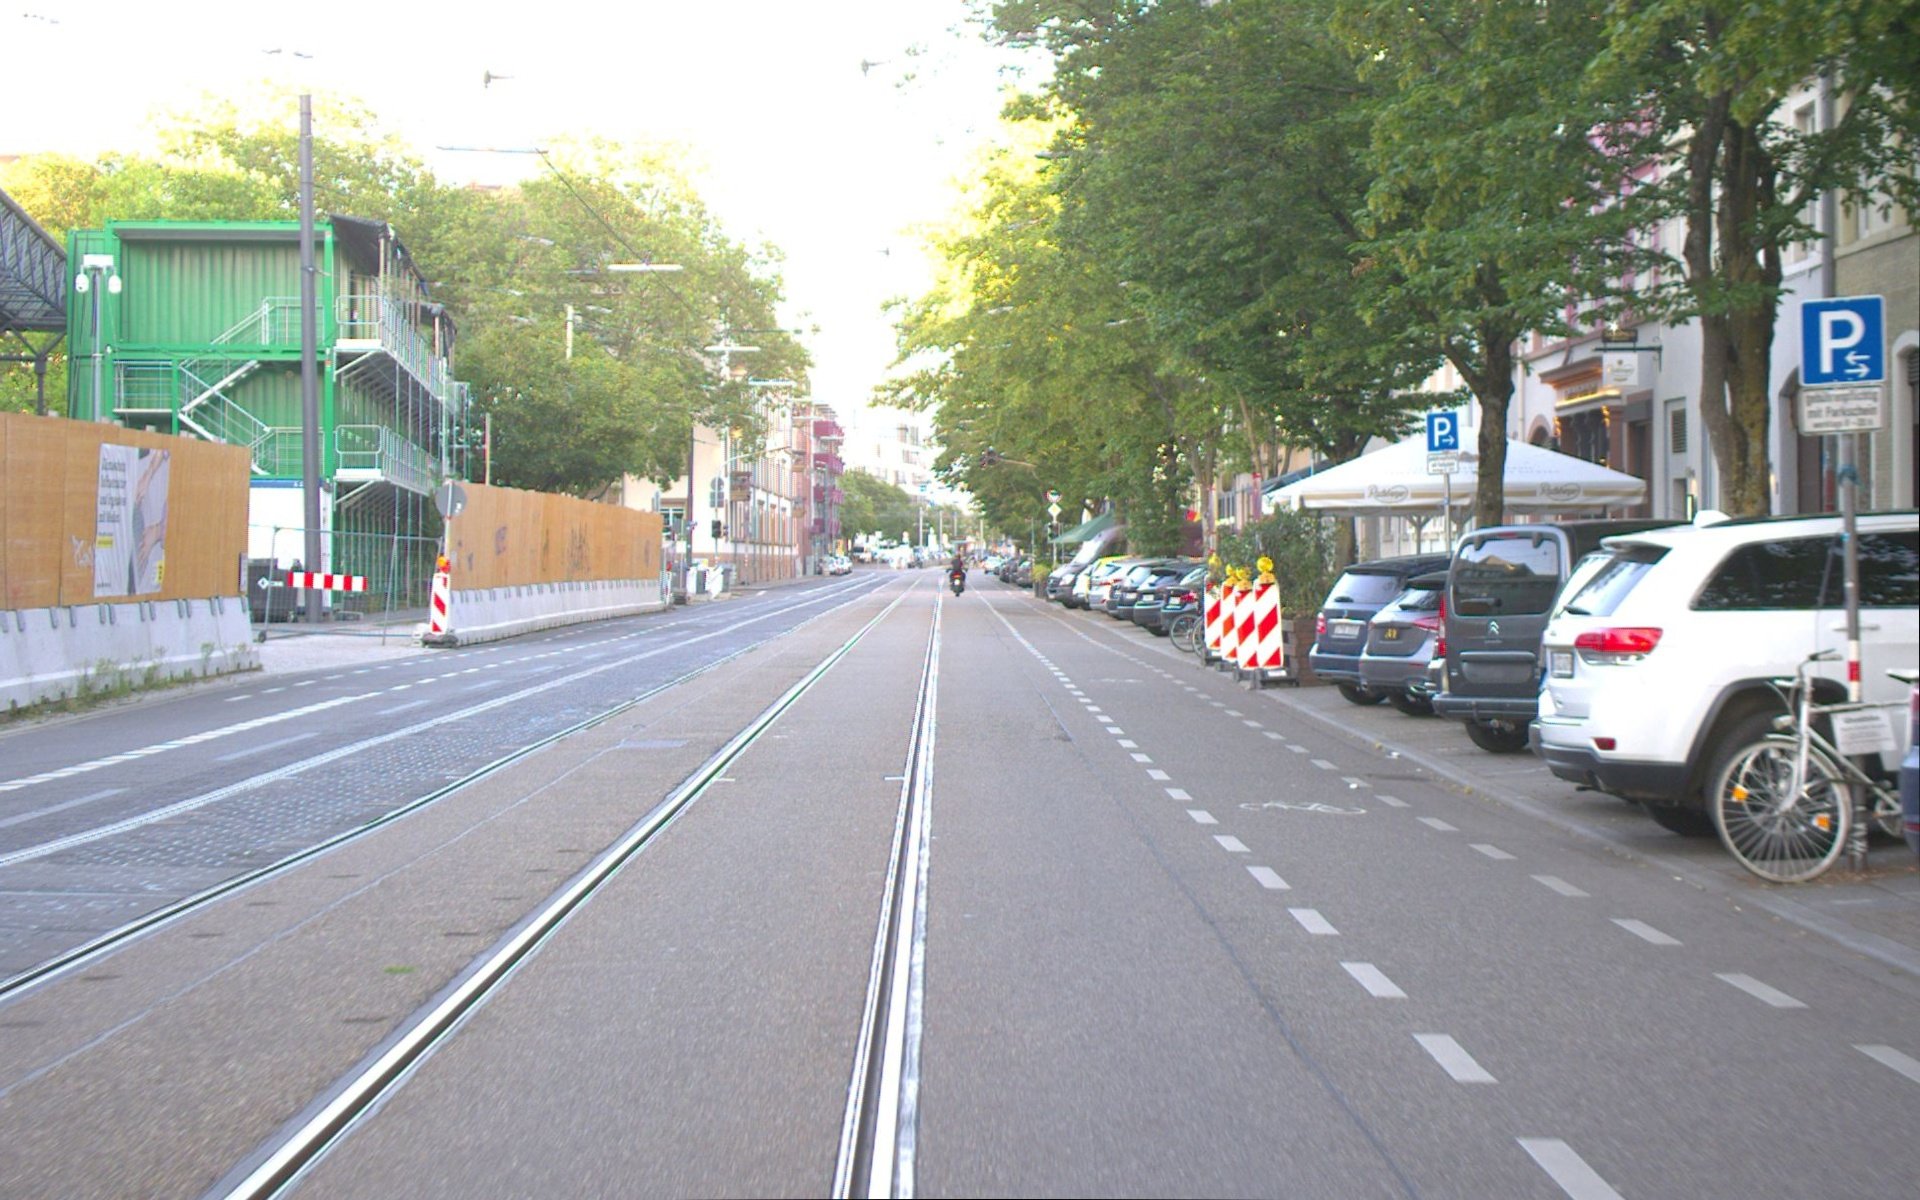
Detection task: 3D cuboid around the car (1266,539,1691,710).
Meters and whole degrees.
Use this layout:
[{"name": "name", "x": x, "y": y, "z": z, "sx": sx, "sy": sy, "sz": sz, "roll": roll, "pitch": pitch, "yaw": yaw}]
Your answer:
[{"name": "car", "x": 5.291, "y": 0.227, "z": 35.043, "sx": 3.961, "sy": 1.548, "sz": 1.706, "roll": -2, "pitch": 1, "yaw": -25}]

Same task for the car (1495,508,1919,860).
[{"name": "car", "x": 5.380, "y": 0.347, "z": 18.352, "sx": 4.648, "sy": 1.682, "sz": 2.008, "roll": -3, "pitch": 1, "yaw": -1}]

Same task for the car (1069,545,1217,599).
[{"name": "car", "x": 5.497, "y": -0.848, "z": 103.159, "sx": 3.949, "sy": 1.481, "sz": 1.921, "roll": -2, "pitch": 0, "yaw": -24}]

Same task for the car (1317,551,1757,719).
[{"name": "car", "x": 5.464, "y": 0.305, "z": 32.535, "sx": 3.772, "sy": 1.403, "sz": 1.706, "roll": -2, "pitch": 1, "yaw": -25}]

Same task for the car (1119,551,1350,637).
[{"name": "car", "x": 5.427, "y": -0.135, "z": 68.161, "sx": 4.115, "sy": 1.465, "sz": 1.824, "roll": -3, "pitch": 1, "yaw": -17}]

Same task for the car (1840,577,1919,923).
[{"name": "car", "x": 5.843, "y": 0.528, "z": 14.644, "sx": 3.746, "sy": 1.422, "sz": 1.728, "roll": -3, "pitch": 1, "yaw": -24}]

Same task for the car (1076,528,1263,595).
[{"name": "car", "x": 5.203, "y": -0.954, "z": 85.775, "sx": 4.249, "sy": 1.543, "sz": 2.020, "roll": -2, "pitch": 0, "yaw": -10}]

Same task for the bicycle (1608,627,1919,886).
[{"name": "bicycle", "x": 4.085, "y": 0.728, "z": 16.472, "sx": 1.835, "sy": 1.099, "sz": 0.498, "roll": -3, "pitch": 1, "yaw": -14}]

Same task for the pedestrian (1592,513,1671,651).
[{"name": "pedestrian", "x": 8.644, "y": -0.236, "z": 44.266, "sx": 0.702, "sy": 1.757, "sz": 0.715, "roll": -1, "pitch": 1, "yaw": -28}]

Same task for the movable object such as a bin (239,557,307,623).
[{"name": "movable object such as a bin", "x": -14.296, "y": -0.220, "z": 71.557, "sx": 1.306, "sy": 1.365, "sz": 0.784, "roll": 0, "pitch": 1, "yaw": -3}]

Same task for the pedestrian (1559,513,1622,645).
[{"name": "pedestrian", "x": 8.513, "y": -0.290, "z": 46.417, "sx": 0.550, "sy": 1.757, "sz": 0.853, "roll": 0, "pitch": 1, "yaw": -12}]

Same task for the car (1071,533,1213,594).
[{"name": "car", "x": 5.237, "y": -1.052, "z": 99.207, "sx": 3.950, "sy": 1.614, "sz": 1.921, "roll": -2, "pitch": 0, "yaw": 1}]

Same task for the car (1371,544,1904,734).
[{"name": "car", "x": 5.944, "y": 0.308, "z": 30.117, "sx": 4.309, "sy": 1.384, "sz": 1.807, "roll": -3, "pitch": 1, "yaw": -25}]

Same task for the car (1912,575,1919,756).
[{"name": "car", "x": 5.700, "y": 0.515, "z": 11.964, "sx": 4.211, "sy": 1.422, "sz": 1.976, "roll": -3, "pitch": 1, "yaw": -22}]

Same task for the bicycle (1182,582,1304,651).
[{"name": "bicycle", "x": 4.635, "y": 0.266, "z": 56.358, "sx": 1.903, "sy": 1.028, "sz": 0.533, "roll": -3, "pitch": 1, "yaw": -2}]

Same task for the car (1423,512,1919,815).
[{"name": "car", "x": 5.478, "y": 0.322, "z": 21.776, "sx": 4.648, "sy": 1.682, "sz": 2.008, "roll": -3, "pitch": 1, "yaw": -5}]

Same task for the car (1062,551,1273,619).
[{"name": "car", "x": 4.674, "y": -0.339, "z": 77.496, "sx": 4.249, "sy": 1.387, "sz": 2.016, "roll": -2, "pitch": 0, "yaw": -23}]

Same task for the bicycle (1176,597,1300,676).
[{"name": "bicycle", "x": 3.993, "y": 0.516, "z": 49.435, "sx": 1.678, "sy": 1.028, "sz": 0.557, "roll": -3, "pitch": 1, "yaw": -2}]

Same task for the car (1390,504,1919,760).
[{"name": "car", "x": 5.706, "y": 0.206, "z": 27.090, "sx": 4.147, "sy": 1.800, "sz": 2.008, "roll": -2, "pitch": 1, "yaw": -28}]

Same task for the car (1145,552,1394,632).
[{"name": "car", "x": 5.672, "y": -0.166, "z": 63.132, "sx": 4.160, "sy": 1.422, "sz": 1.824, "roll": -1, "pitch": 1, "yaw": -19}]

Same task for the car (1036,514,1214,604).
[{"name": "car", "x": 5.161, "y": -1.276, "z": 107.721, "sx": 5.093, "sy": 2.633, "sz": 2.022, "roll": -2, "pitch": 0, "yaw": -17}]

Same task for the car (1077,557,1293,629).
[{"name": "car", "x": 4.783, "y": -0.159, "z": 73.102, "sx": 4.115, "sy": 1.465, "sz": 2.016, "roll": -1, "pitch": 1, "yaw": -24}]
